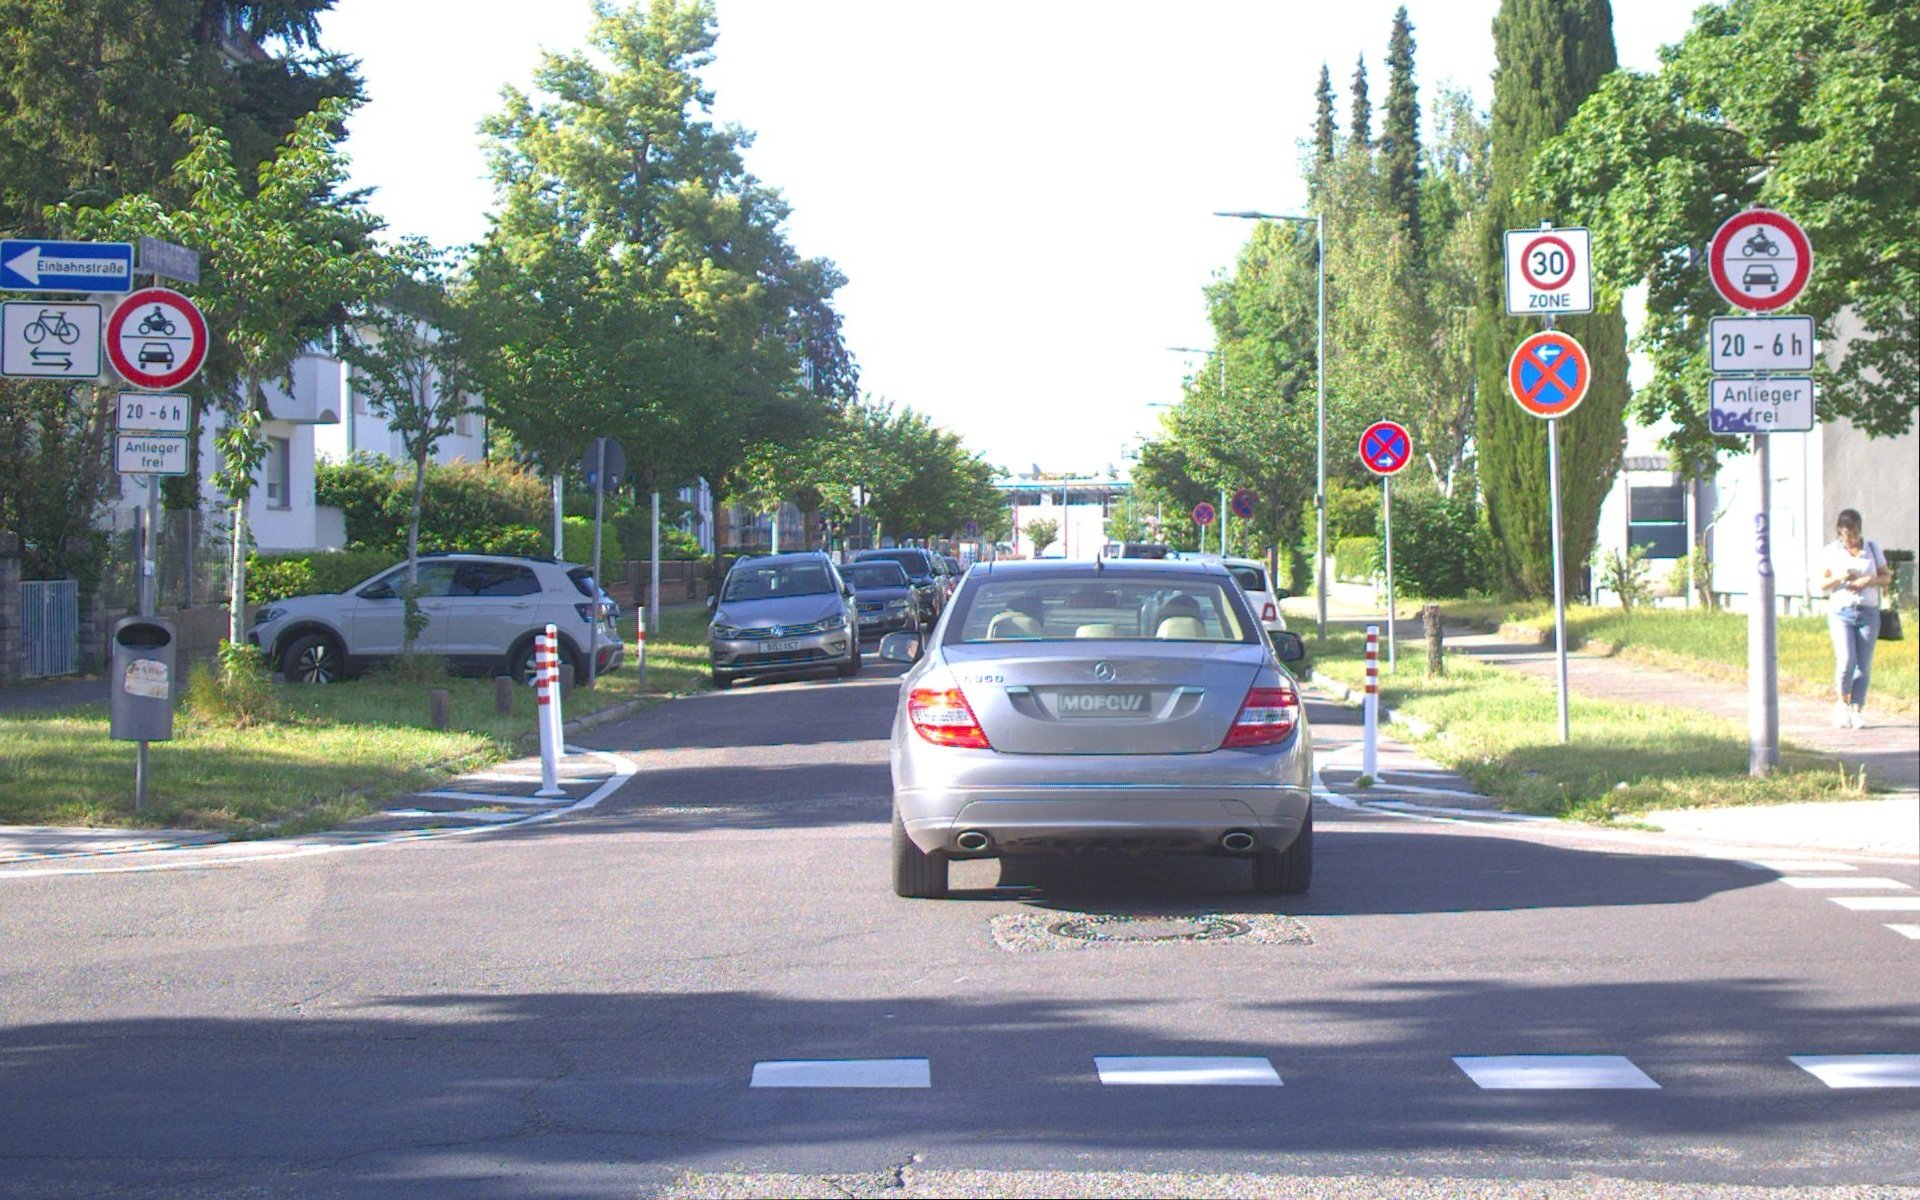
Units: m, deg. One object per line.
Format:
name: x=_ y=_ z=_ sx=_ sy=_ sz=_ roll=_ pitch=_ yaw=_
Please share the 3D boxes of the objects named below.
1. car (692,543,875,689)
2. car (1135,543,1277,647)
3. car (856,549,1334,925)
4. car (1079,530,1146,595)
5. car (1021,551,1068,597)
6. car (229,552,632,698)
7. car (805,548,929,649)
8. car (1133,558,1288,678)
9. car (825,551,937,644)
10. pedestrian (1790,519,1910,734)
car: x=-2.153 y=0.158 z=43.052 sx=1.993 sy=1.604 sz=4.000 roll=-4 pitch=1 yaw=0
car: x=3.951 y=-0.109 z=55.743 sx=1.993 sy=1.604 sz=4.000 roll=-1 pitch=1 yaw=0
car: x=0.621 y=0.502 z=15.290 sx=1.836 sy=1.436 sz=4.000 roll=0 pitch=1 yaw=3
car: x=4.445 y=-1.111 z=100.802 sx=1.855 sy=1.835 sz=4.000 roll=-1 pitch=1 yaw=1
car: x=3.058 y=-0.962 z=125.436 sx=1.597 sy=1.604 sz=3.644 roll=-1 pitch=1 yaw=0
car: x=-5.801 y=0.261 z=38.031 sx=4.192 sy=1.558 sz=1.842 roll=0 pitch=1 yaw=-1
car: x=-1.617 y=-0.060 z=60.853 sx=1.993 sy=1.604 sz=4.000 roll=-4 pitch=1 yaw=0
car: x=3.253 y=0.205 z=45.169 sx=1.733 sy=1.475 sz=3.725 roll=-1 pitch=1 yaw=0
car: x=-1.492 y=-0.072 z=66.647 sx=1.993 sy=1.604 sz=4.000 roll=-4 pitch=1 yaw=0
pedestrian: x=6.780 y=0.197 z=26.215 sx=0.766 sy=1.605 sz=0.834 roll=-1 pitch=1 yaw=7
